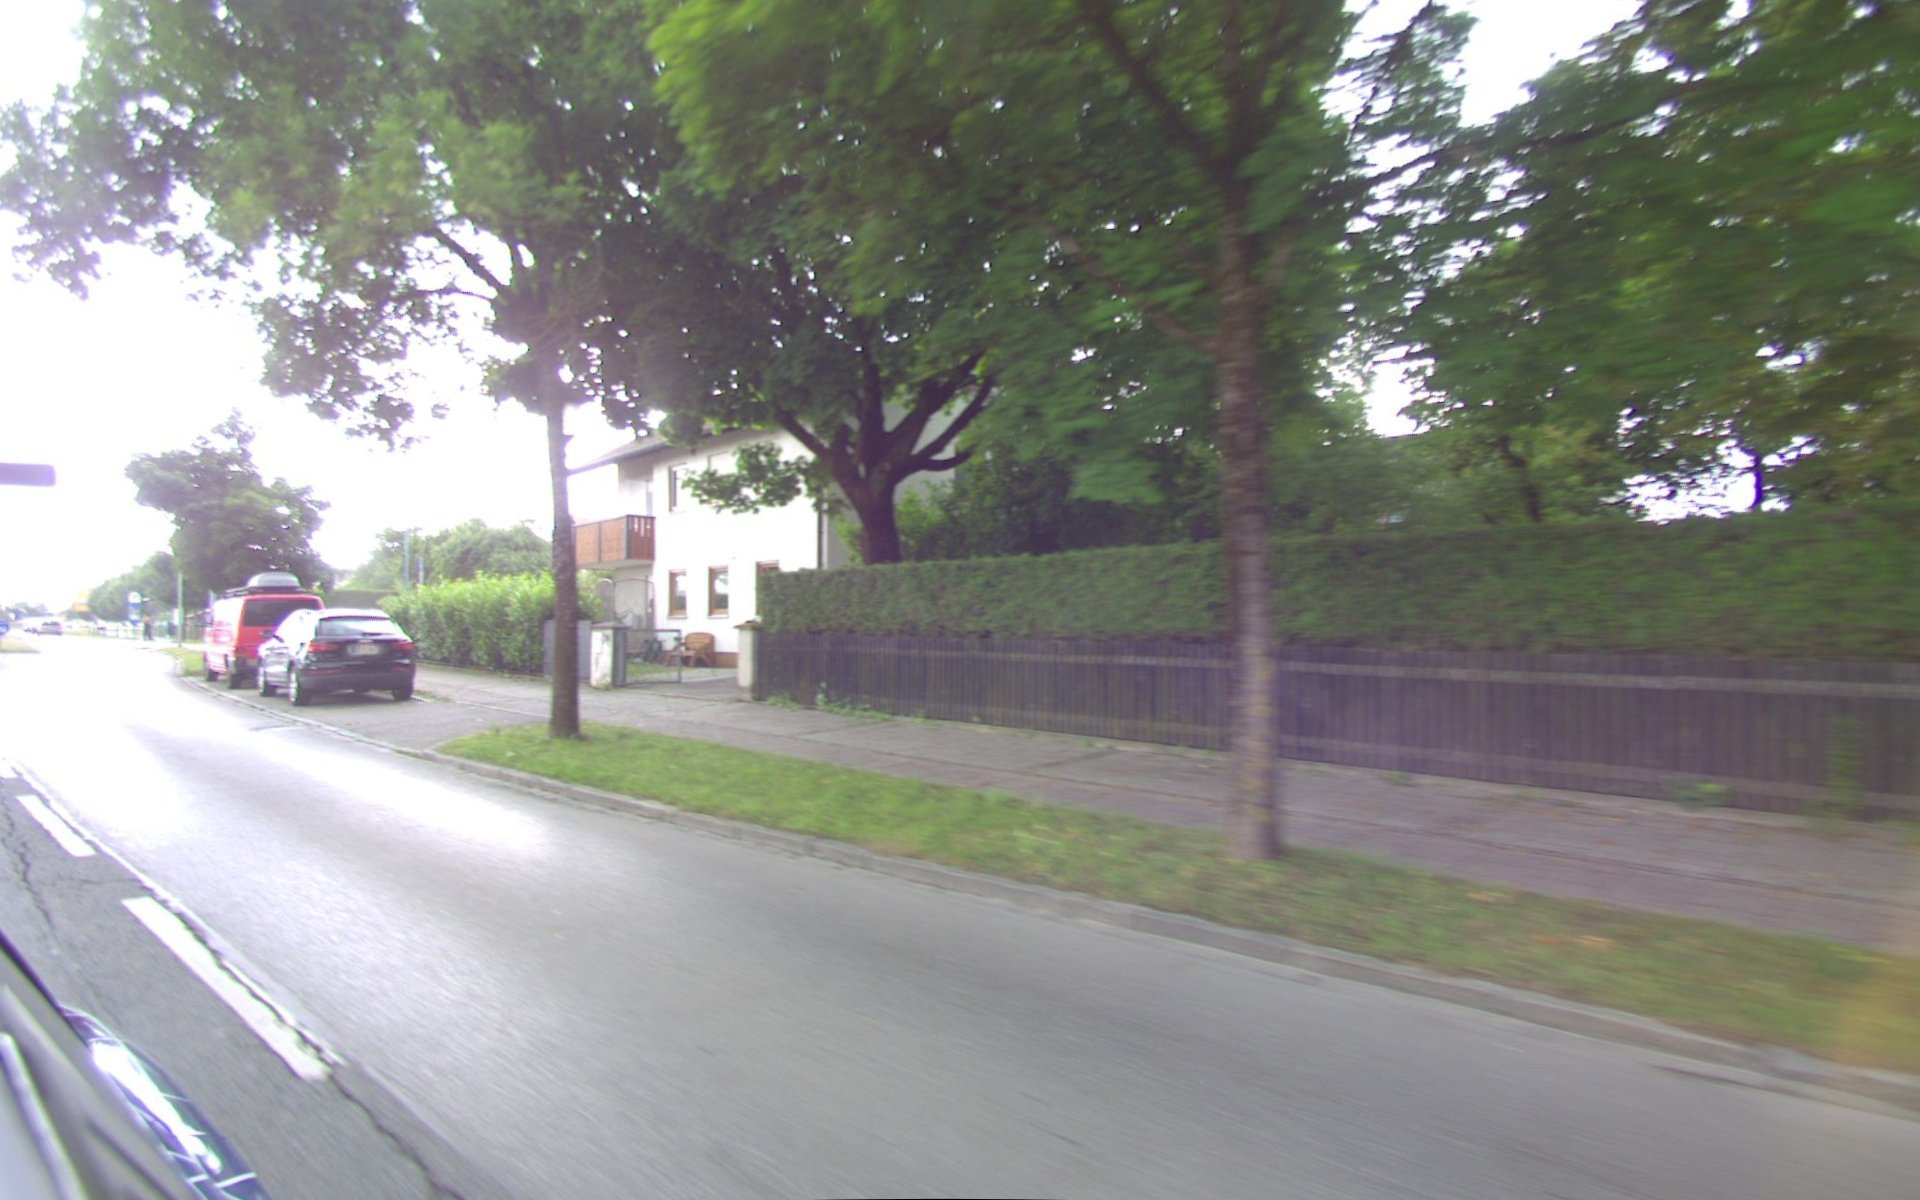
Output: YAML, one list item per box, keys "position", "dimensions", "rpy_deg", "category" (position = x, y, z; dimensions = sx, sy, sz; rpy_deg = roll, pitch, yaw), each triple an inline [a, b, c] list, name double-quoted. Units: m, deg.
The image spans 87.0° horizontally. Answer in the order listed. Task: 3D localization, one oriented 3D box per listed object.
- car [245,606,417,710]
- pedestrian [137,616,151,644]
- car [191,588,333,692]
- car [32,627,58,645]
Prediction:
- position: [-11.321, 0.966, 18.085]
  dimensions: [1.751, 1.610, 4.241]
  rpy_deg: [-1, -1, -44]
  category: "car"
- position: [-48.094, 1.748, 59.643]
  dimensions: [0.813, 1.649, 0.581]
  rpy_deg: [-2, -2, 45]
  category: "pedestrian"
- position: [-15.528, 0.856, 22.402]
  dimensions: [1.808, 2.046, 5.050]
  rpy_deg: [1, -2, -44]
  category: "car"
- position: [-83.301, 3.293, 92.118]
  dimensions: [1.686, 1.544, 3.511]
  rpy_deg: [3, -3, -42]
  category: "car"
